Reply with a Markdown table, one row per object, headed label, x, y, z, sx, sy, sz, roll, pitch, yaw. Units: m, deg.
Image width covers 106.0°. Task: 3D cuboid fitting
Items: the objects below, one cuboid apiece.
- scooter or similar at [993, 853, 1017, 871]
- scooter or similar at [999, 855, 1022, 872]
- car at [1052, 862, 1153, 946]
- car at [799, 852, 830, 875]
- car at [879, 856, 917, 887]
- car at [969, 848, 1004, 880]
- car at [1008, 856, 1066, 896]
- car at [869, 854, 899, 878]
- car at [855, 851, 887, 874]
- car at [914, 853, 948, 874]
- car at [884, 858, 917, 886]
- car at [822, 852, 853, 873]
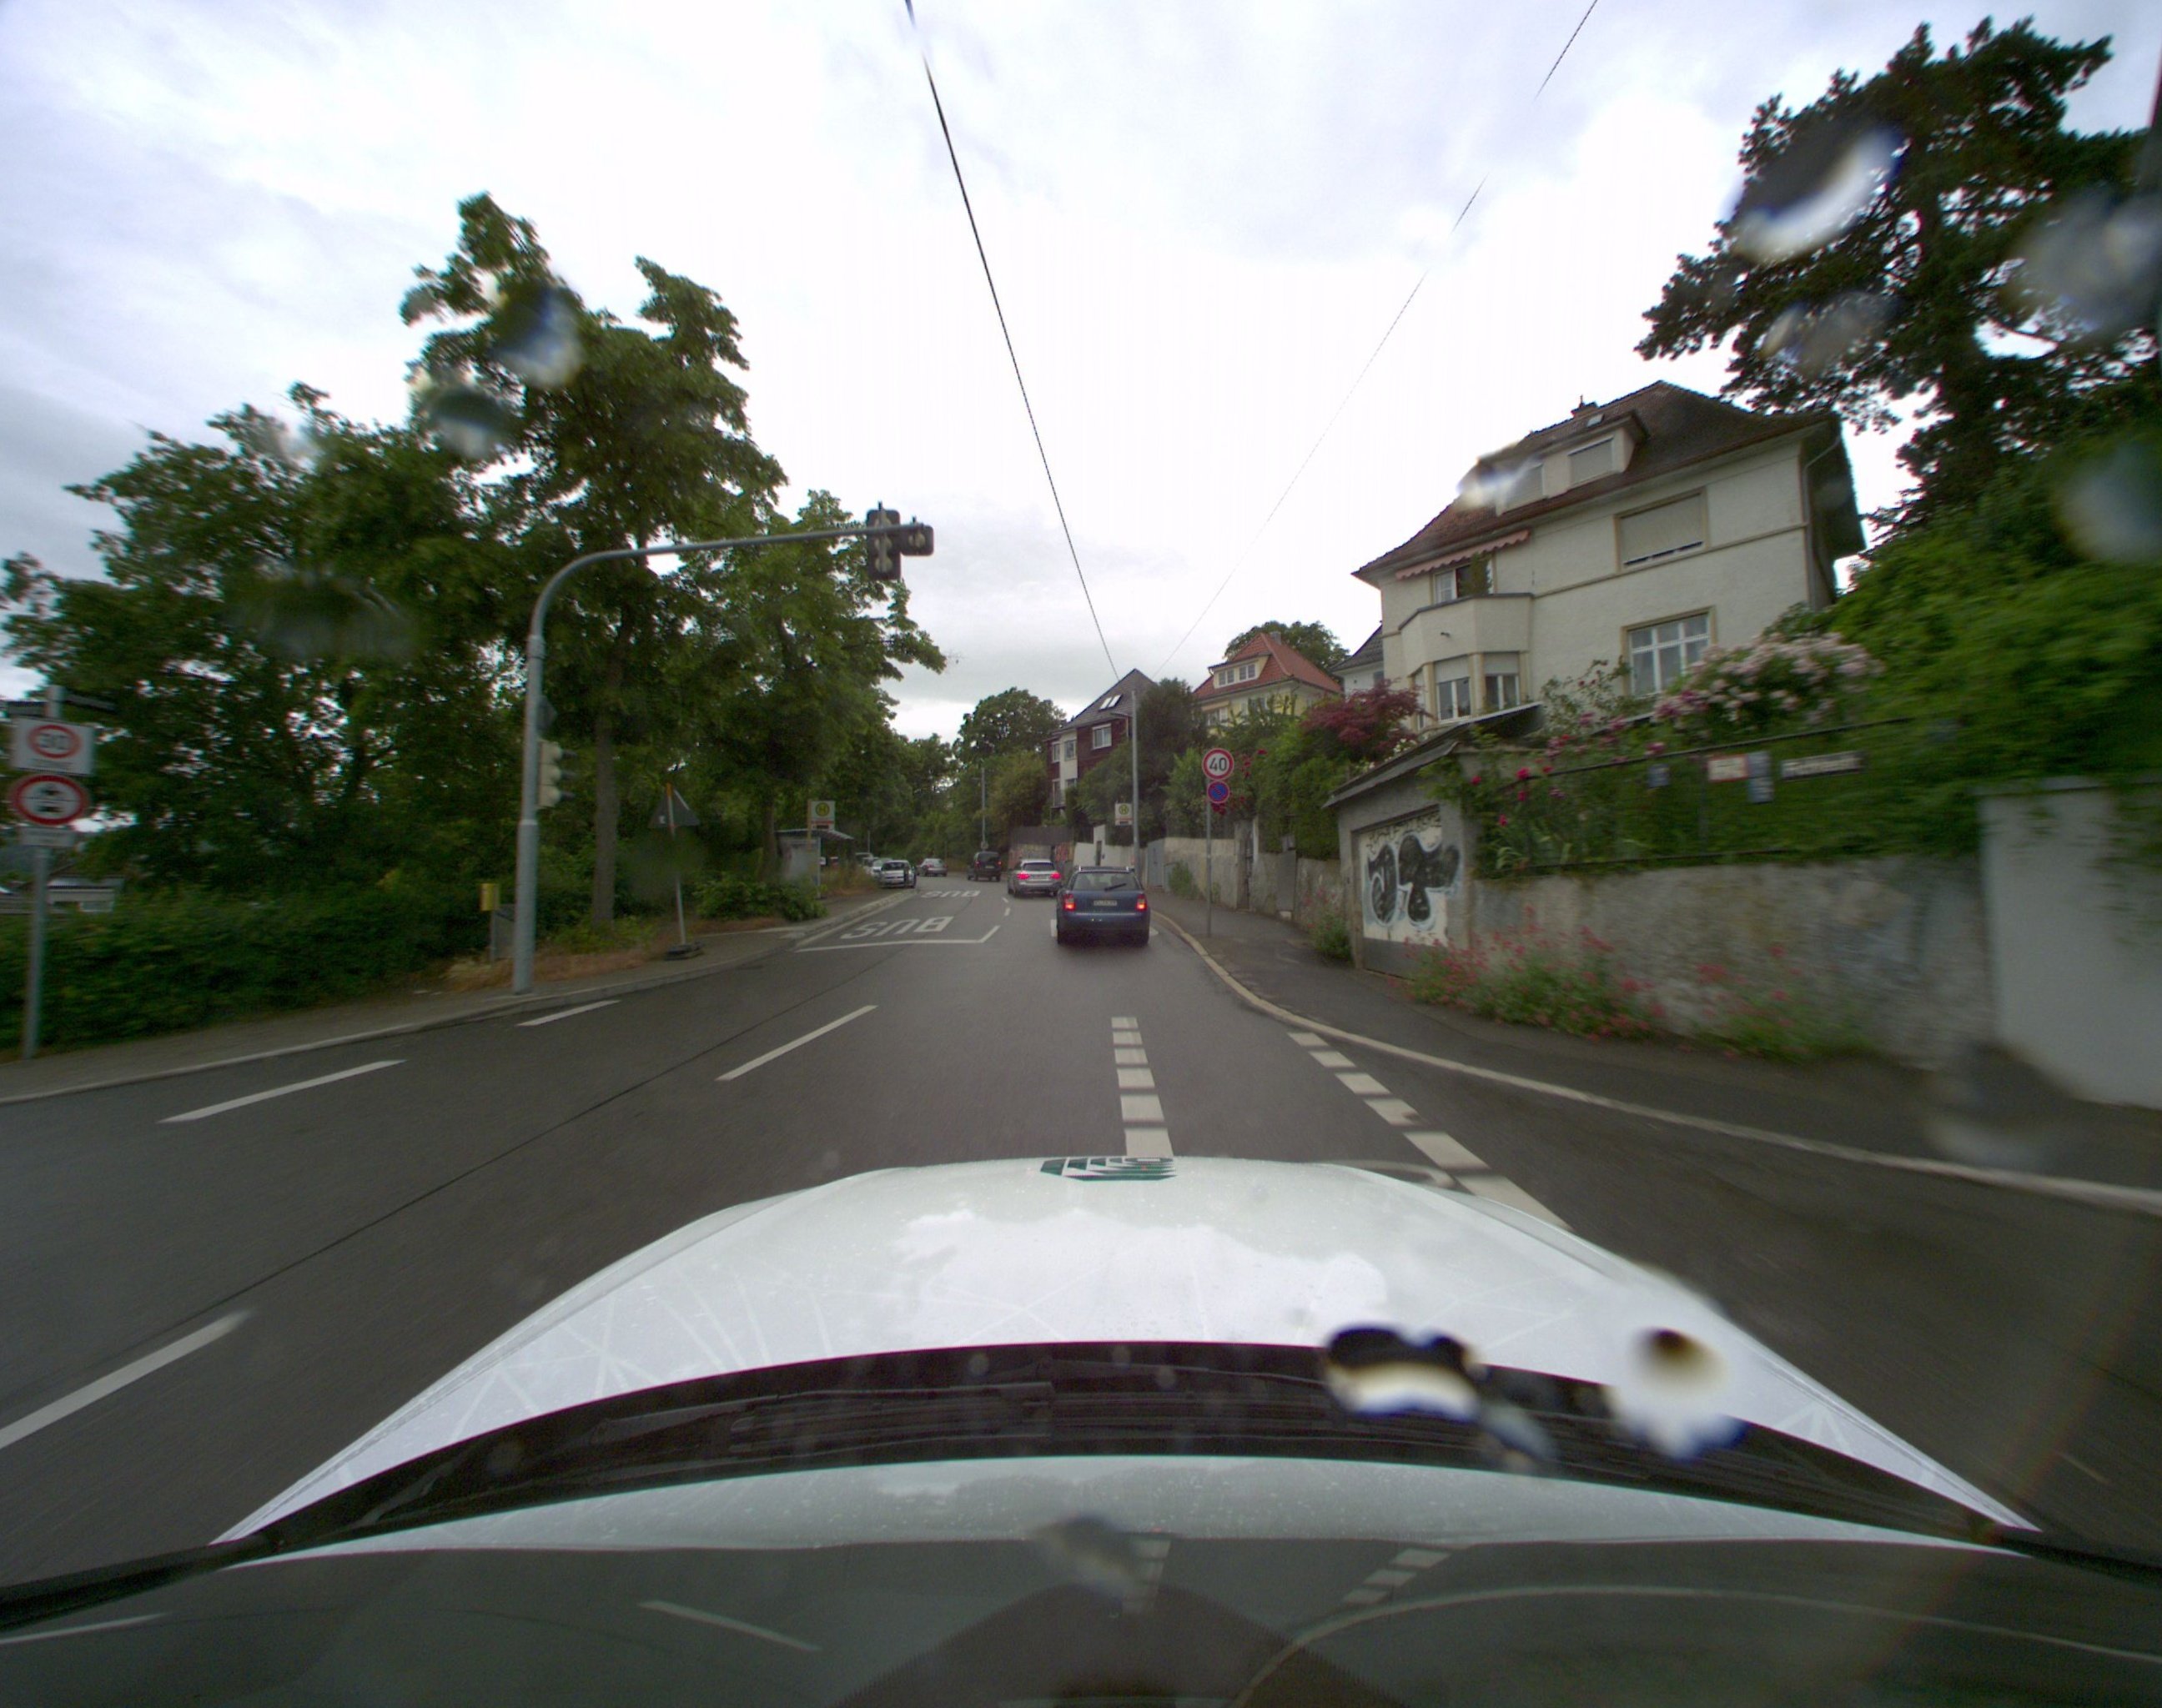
| label | x | y | z | sx | sy | sz | roll | pitch | yaw |
| --- | --- | --- | --- | --- | --- | --- | --- | --- | --- |
| scooter or similar | -6.212 | 0.686 | 66.771 | 1.834 | 1.315 | 0.597 | 4 | -4 | -11 |
| scooter or similar | -5.850 | 0.803 | 67.696 | 1.834 | 1.315 | 0.597 | 4 | -4 | -11 |
| car | 0.439 | 0.898 | 16.361 | 1.771 | 1.439 | 4.001 | 0 | 0 | 1 |
| car | -24.805 | 0.907 | 75.818 | 2.005 | 2.013 | 3.963 | -2 | 1 | -28 |
| car | -9.277 | 0.843 | 41.443 | 1.674 | 1.426 | 3.985 | -2 | 1 | -11 |
| car | -6.077 | 0.588 | 51.931 | 1.732 | 1.894 | 4.038 | -2 | 1 | -13 |
| car | -1.817 | 0.812 | 32.317 | 1.908 | 1.388 | 4.338 | 2 | 0 | -8 |
| car | -12.755 | 0.745 | 52.635 | 1.677 | 1.426 | 3.978 | -2 | 1 | -17 |
| car | -14.901 | 0.590 | 57.741 | 1.680 | 1.551 | 3.874 | -2 | 1 | -22 |
| car | -11.957 | 0.736 | 64.924 | 1.774 | 1.570 | 3.999 | -2 | 1 | -23 |
| car | -10.317 | 0.976 | 46.432 | 1.676 | 1.426 | 3.980 | -2 | 1 | -15 |
| car | -21.084 | 0.737 | 70.455 | 2.004 | 1.727 | 3.967 | -3 | 1 | -25 |
